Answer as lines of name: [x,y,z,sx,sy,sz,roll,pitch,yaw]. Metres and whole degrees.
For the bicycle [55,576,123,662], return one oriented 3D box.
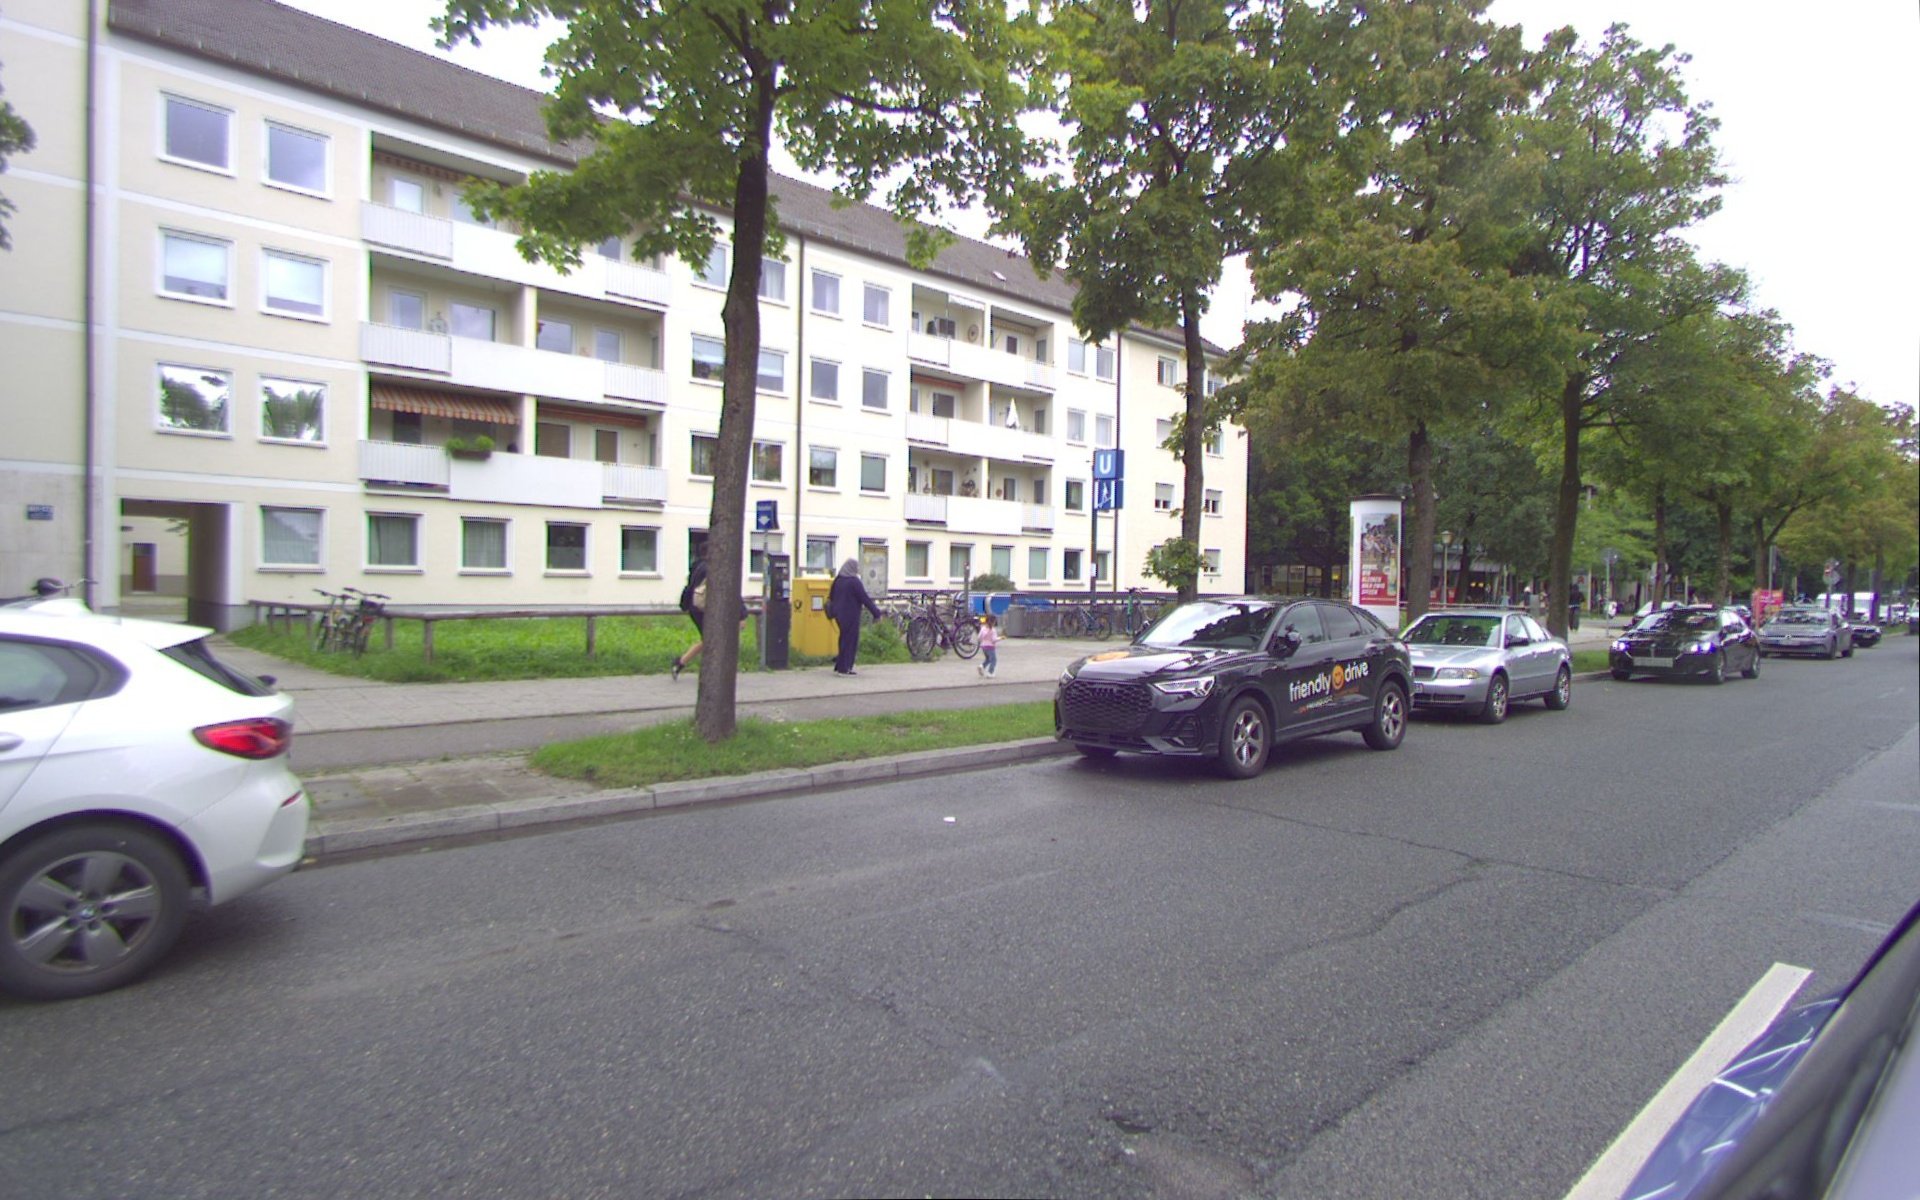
bicycle: [-10.436,0.206,12.166,0.548,0.951,1.881,0,0,-39]

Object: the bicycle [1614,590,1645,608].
bicycle: [60.282,-0.096,91.172,2.298,1.643,0.642,2,1,33]

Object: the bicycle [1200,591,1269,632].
bicycle: [7.580,0.301,28.044,0.425,1.041,1.880,0,2,-43]

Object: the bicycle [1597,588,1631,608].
bicycle: [56.851,-0.181,87.988,0.638,1.643,2.312,1,1,-40]

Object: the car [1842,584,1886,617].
car: [74.162,0.052,82.986,5.901,2.691,1.976,0,-1,-41]

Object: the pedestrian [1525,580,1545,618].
pedestrian: [26.693,-0.071,46.994,0.630,1.752,0.600,0,0,4]

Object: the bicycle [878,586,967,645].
bicycle: [-0.710,0.296,19.837,1.850,1.115,0.432,1,1,-40]

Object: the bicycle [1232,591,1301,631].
bicycle: [8.725,0.303,28.854,1.876,1.041,0.426,3,2,42]

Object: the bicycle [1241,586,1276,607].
bicycle: [15.018,-0.171,50.959,0.448,0.983,1.693,1,1,-44]

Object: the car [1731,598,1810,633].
car: [33.734,0.607,42.082,4.273,1.397,1.725,0,0,-39]

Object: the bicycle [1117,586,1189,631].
bicycle: [4.874,0.195,25.686,0.425,1.041,1.880,0,2,-43]

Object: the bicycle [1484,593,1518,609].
bicycle: [38.097,0.067,71.337,0.447,1.134,2.079,1,1,-40]

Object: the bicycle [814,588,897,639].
bicycle: [-2.235,0.281,21.833,1.850,1.041,0.432,1,1,-40]

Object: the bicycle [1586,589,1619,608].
bicycle: [55.112,-0.128,86.829,0.638,1.551,2.312,1,1,-40]

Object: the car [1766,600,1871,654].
car: [25.109,0.747,29.554,4.041,1.484,1.685,0,0,-40]

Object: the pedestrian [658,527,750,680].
pedestrian: [-3.339,0.032,13.186,0.903,1.913,0.730,0,2,-42]

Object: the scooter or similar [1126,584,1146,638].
scooter or similar: [4.184,0.241,24.111,0.352,1.215,1.388,2,2,7]

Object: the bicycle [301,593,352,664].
bicycle: [-9.401,0.388,14.985,0.425,0.986,1.882,0,0,-39]

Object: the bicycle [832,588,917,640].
bicycle: [-1.768,0.290,21.220,1.850,1.041,0.432,1,1,-40]

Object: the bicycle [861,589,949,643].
bicycle: [-1.091,0.315,20.437,1.850,1.041,0.432,1,1,-40]

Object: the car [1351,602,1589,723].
car: [7.070,0.741,13.836,4.173,1.403,1.637,0,0,-44]

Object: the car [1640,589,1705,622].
car: [38.662,0.279,54.891,4.122,1.654,1.826,0,2,-39]

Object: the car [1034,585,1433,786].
car: [2.807,0.668,9.868,4.200,1.552,1.719,0,0,-41]

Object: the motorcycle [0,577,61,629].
motorcycle: [-19.146,0.055,20.119,1.873,1.036,0.605,0,0,-41]

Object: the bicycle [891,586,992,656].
bicycle: [-0.297,0.355,17.373,1.850,1.147,0.432,1,1,-40]

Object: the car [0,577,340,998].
car: [-4.684,0.671,3.547,4.066,1.484,1.684,0,-1,-42]

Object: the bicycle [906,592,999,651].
bicycle: [-0.117,0.391,18.723,1.850,1.041,0.432,1,1,-40]

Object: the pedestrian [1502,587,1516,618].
pedestrian: [28.895,0.121,53.236,0.574,1.594,0.775,0,0,24]

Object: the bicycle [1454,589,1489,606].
bicycle: [35.087,-0.193,69.437,0.447,1.134,2.079,1,1,-40]

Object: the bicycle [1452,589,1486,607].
bicycle: [35.280,-0.149,70.124,0.447,1.134,2.079,1,1,-40]

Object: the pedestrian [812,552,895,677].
pedestrian: [-1.518,0.185,14.394,0.820,1.702,0.840,0,1,-42]

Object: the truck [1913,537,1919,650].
truck: [31.716,-0.162,30.586,8.967,3.229,3.046,0,0,-39]

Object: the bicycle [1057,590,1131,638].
bicycle: [3.169,0.311,24.030,0.425,1.041,1.880,0,2,-43]

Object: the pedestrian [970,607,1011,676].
pedestrian: [0.443,0.600,14.794,0.427,0.961,0.408,0,1,-42]

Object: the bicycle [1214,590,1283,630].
bicycle: [8.164,0.266,28.669,1.878,1.041,0.426,3,2,44]

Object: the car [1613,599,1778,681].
car: [14.854,0.731,20.359,4.101,1.484,1.754,0,0,-40]

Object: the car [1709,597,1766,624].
car: [48.882,0.663,63.625,4.519,1.550,1.826,0,2,-39]

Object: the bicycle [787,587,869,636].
bicycle: [-2.926,0.248,22.594,1.850,1.041,0.432,1,1,-40]

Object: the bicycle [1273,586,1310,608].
bicycle: [16.270,-0.148,49.687,0.448,0.983,1.693,1,1,-44]

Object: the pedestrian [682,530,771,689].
pedestrian: [-2.920,0.102,12.648,0.886,1.913,0.589,0,1,-42]

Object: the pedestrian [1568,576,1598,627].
pedestrian: [22.369,0.056,36.362,0.834,1.771,0.640,1,2,-42]

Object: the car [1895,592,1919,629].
car: [52.303,0.554,54.848,4.847,1.952,1.884,0,0,-41]

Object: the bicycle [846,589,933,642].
bicycle: [-1.435,0.308,20.868,1.850,1.041,0.432,1,1,-40]

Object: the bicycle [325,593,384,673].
bicycle: [-8.074,0.405,13.473,0.425,0.986,1.882,0,0,-39]
